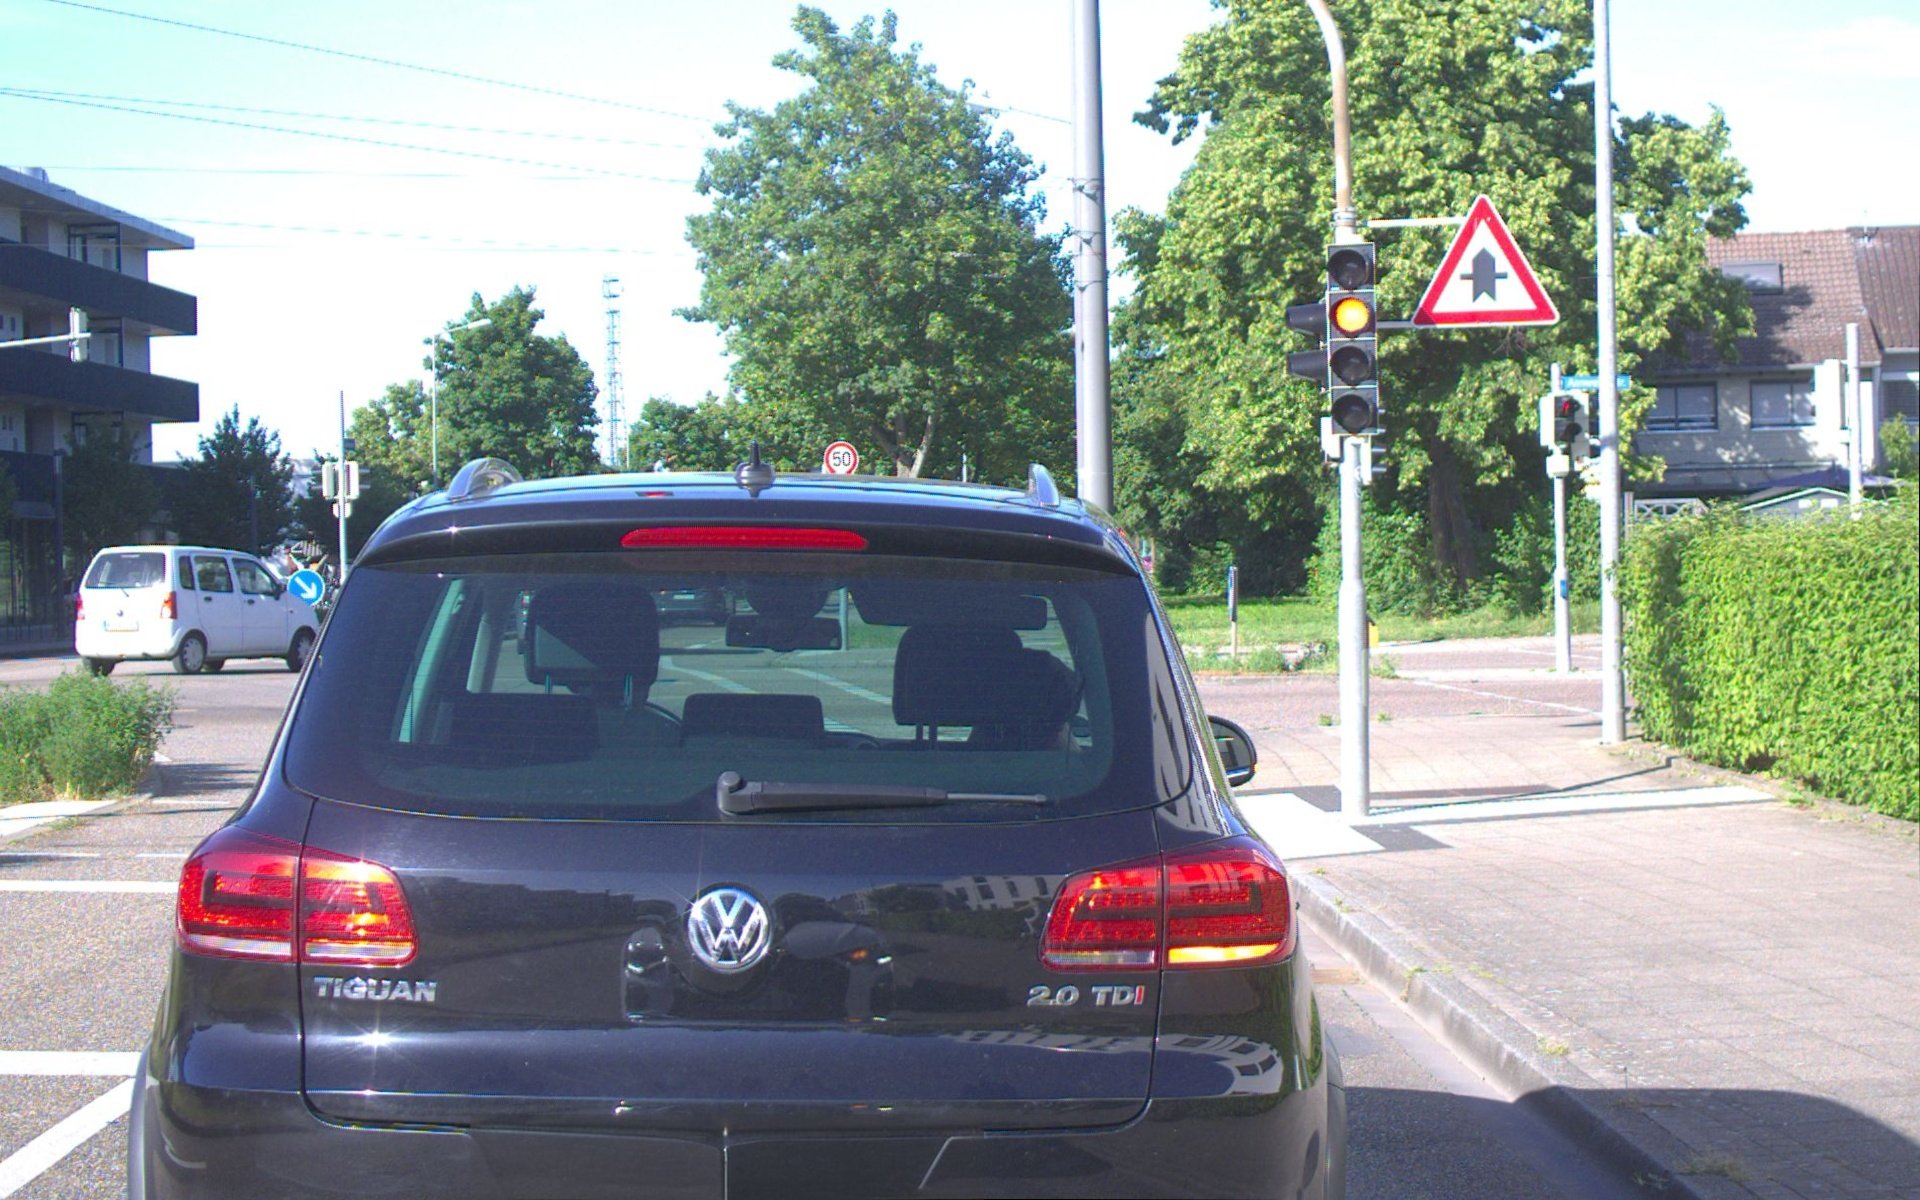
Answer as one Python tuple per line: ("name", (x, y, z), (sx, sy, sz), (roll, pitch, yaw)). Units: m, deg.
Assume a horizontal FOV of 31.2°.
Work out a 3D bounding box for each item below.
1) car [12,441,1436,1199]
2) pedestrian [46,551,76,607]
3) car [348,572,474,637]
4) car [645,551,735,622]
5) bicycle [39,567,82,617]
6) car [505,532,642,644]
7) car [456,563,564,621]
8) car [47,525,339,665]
("car", (-0.338, 0.599, 6.546), (1.869, 1.632, 4.000), (1, 1, -1))
("pedestrian", (-24.457, -0.577, 93.574), (0.642, 1.504, 0.596), (1, 0, 0))
("car", (-13.762, 0.093, 86.449), (1.994, 1.569, 4.338), (1, 1, 7))
("car", (-6.616, -0.335, 84.453), (1.993, 1.678, 4.000), (1, 1, -2))
("bicycle", (-24.497, -0.223, 93.616), (0.630, 1.327, 1.913), (1, 1, 1))
("car", (-6.581, -0.221, 58.844), (1.993, 1.830, 4.000), (1, 1, -2))
("car", (-12.741, -0.247, 97.516), (1.994, 1.569, 4.338), (1, 1, 7))
("car", (-9.892, -0.094, 44.588), (1.866, 1.714, 3.682), (0, 1, 23))
